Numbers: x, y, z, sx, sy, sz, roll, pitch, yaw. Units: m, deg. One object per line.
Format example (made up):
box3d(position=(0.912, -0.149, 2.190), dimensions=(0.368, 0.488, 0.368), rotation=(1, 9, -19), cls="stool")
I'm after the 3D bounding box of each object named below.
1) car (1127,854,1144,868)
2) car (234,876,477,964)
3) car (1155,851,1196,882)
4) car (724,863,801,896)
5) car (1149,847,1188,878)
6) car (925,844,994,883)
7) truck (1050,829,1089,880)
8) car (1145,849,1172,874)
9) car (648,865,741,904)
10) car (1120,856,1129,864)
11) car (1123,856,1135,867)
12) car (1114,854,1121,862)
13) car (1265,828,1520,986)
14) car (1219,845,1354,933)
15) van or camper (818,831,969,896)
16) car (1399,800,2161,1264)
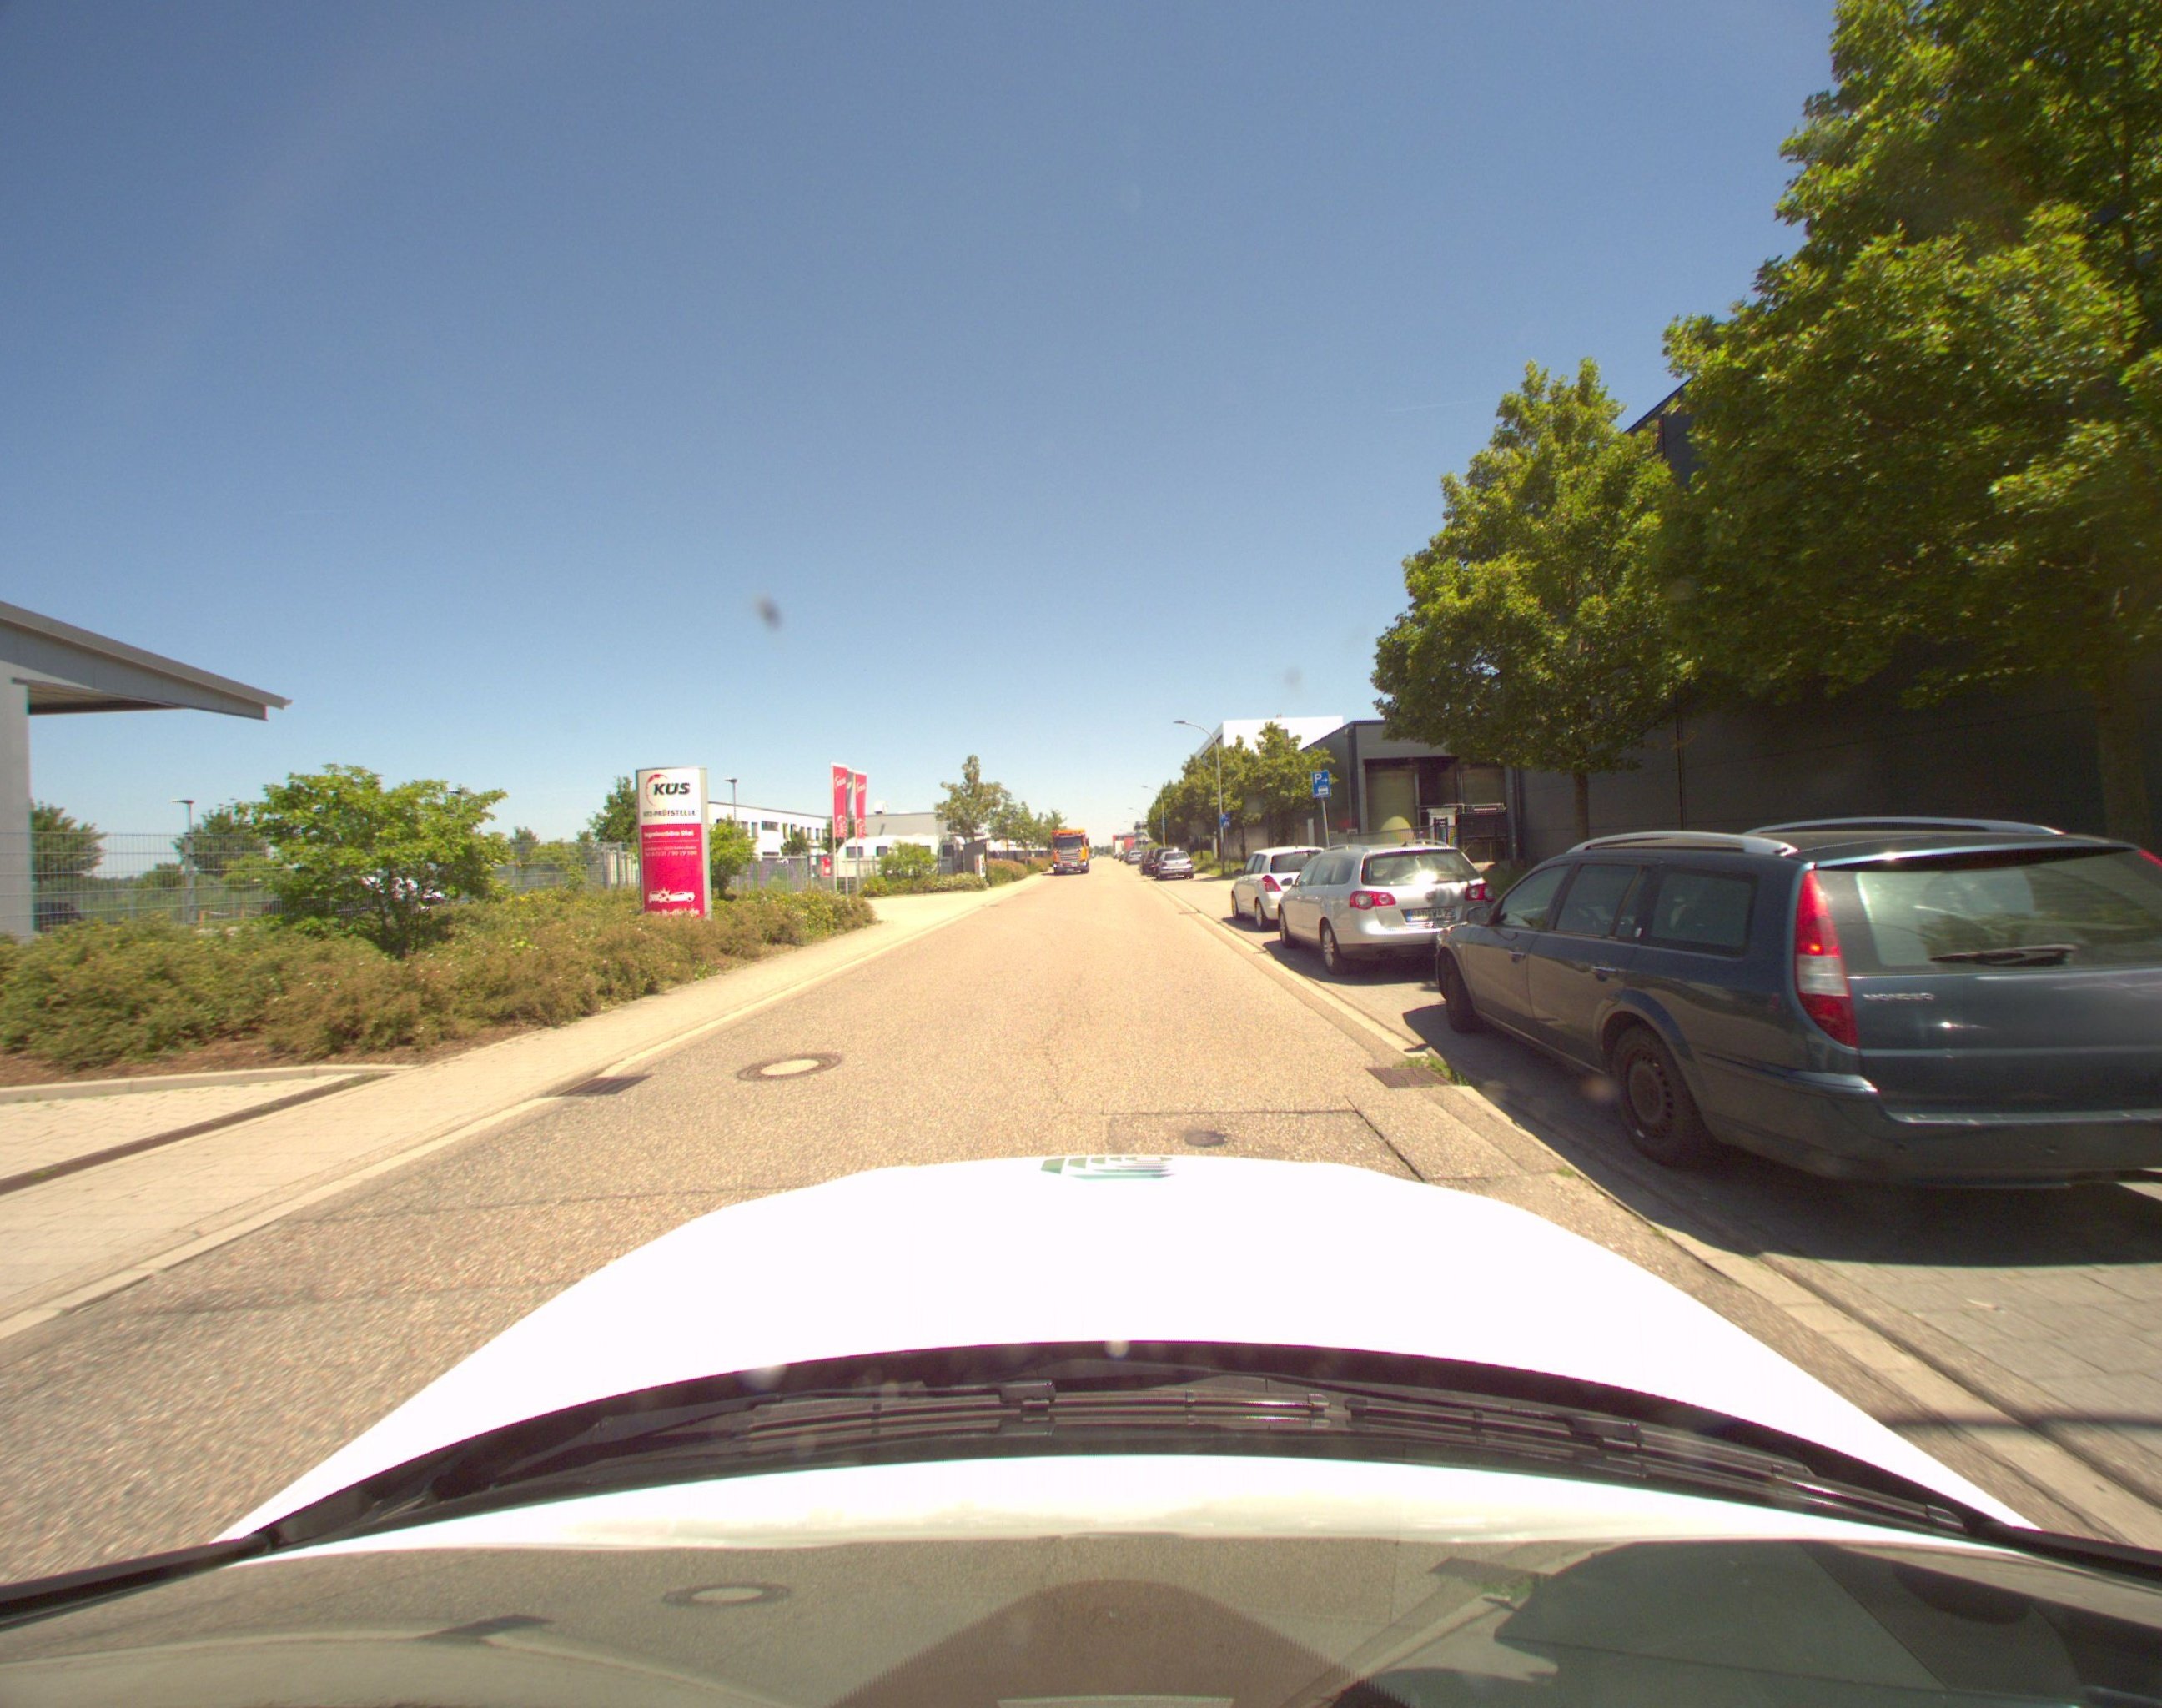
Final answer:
box3d(position=(5.925, 0.708, 88.848), dimensions=(1.579, 1.409, 3.501), rotation=(-3, 0, 1), cls="car")
box3d(position=(-14.935, 1.315, 16.905), dimensions=(3.493, 1.552, 1.556), rotation=(-2, 0, -4), cls="car")
box3d(position=(4.787, 0.623, 41.828), dimensions=(1.712, 1.450, 3.647), rotation=(-3, 0, 1), cls="car")
box3d(position=(-20.021, 1.574, 51.258), dimensions=(3.973, 1.816, 1.917), rotation=(-3, 0, 0), cls="car")
box3d(position=(5.102, 0.471, 47.942), dimensions=(1.674, 1.686, 3.996), rotation=(-3, 0, -2), cls="car")
box3d(position=(-8.965, 0.691, 60.303), dimensions=(4.703, 2.586, 1.998), rotation=(-3, 0, -3), cls="car")
box3d(position=(-0.762, 0.006, 62.724), dimensions=(2.439, 3.513, 8.275), rotation=(-4, 0, 2), cls="truck")
box3d(position=(5.664, 0.527, 59.587), dimensions=(1.715, 1.694, 3.987), rotation=(-3, 0, 2), cls="car")
box3d(position=(-20.537, 1.591, 43.375), dimensions=(3.973, 1.816, 1.917), rotation=(-3, 0, 0), cls="car")
box3d(position=(8.112, 1.040, 153.171), dimensions=(1.490, 1.409, 3.501), rotation=(-3, 0, 2), cls="car")
box3d(position=(6.547, 0.999, 112.033), dimensions=(1.490, 1.409, 3.501), rotation=(-3, 0, 2), cls="car")
box3d(position=(7.556, 0.831, 169.003), dimensions=(1.490, 1.409, 3.501), rotation=(-3, 0, 2), cls="car")
box3d(position=(3.765, 0.583, 10.783), dimensions=(1.741, 1.562, 4.508), rotation=(-3, -1, 2), cls="car")
box3d(position=(3.972, 0.619, 16.352), dimensions=(1.631, 1.469, 3.744), rotation=(-3, 0, -1), cls="car")
box3d(position=(-10.005, 0.496, 44.006), dimensions=(7.359, 3.037, 2.790), rotation=(-3, 0, 0), cls="van or camper")
box3d(position=(3.519, 0.607, 5.022), dimensions=(1.700, 1.504, 4.714), rotation=(-3, -1, 7), cls="car")
